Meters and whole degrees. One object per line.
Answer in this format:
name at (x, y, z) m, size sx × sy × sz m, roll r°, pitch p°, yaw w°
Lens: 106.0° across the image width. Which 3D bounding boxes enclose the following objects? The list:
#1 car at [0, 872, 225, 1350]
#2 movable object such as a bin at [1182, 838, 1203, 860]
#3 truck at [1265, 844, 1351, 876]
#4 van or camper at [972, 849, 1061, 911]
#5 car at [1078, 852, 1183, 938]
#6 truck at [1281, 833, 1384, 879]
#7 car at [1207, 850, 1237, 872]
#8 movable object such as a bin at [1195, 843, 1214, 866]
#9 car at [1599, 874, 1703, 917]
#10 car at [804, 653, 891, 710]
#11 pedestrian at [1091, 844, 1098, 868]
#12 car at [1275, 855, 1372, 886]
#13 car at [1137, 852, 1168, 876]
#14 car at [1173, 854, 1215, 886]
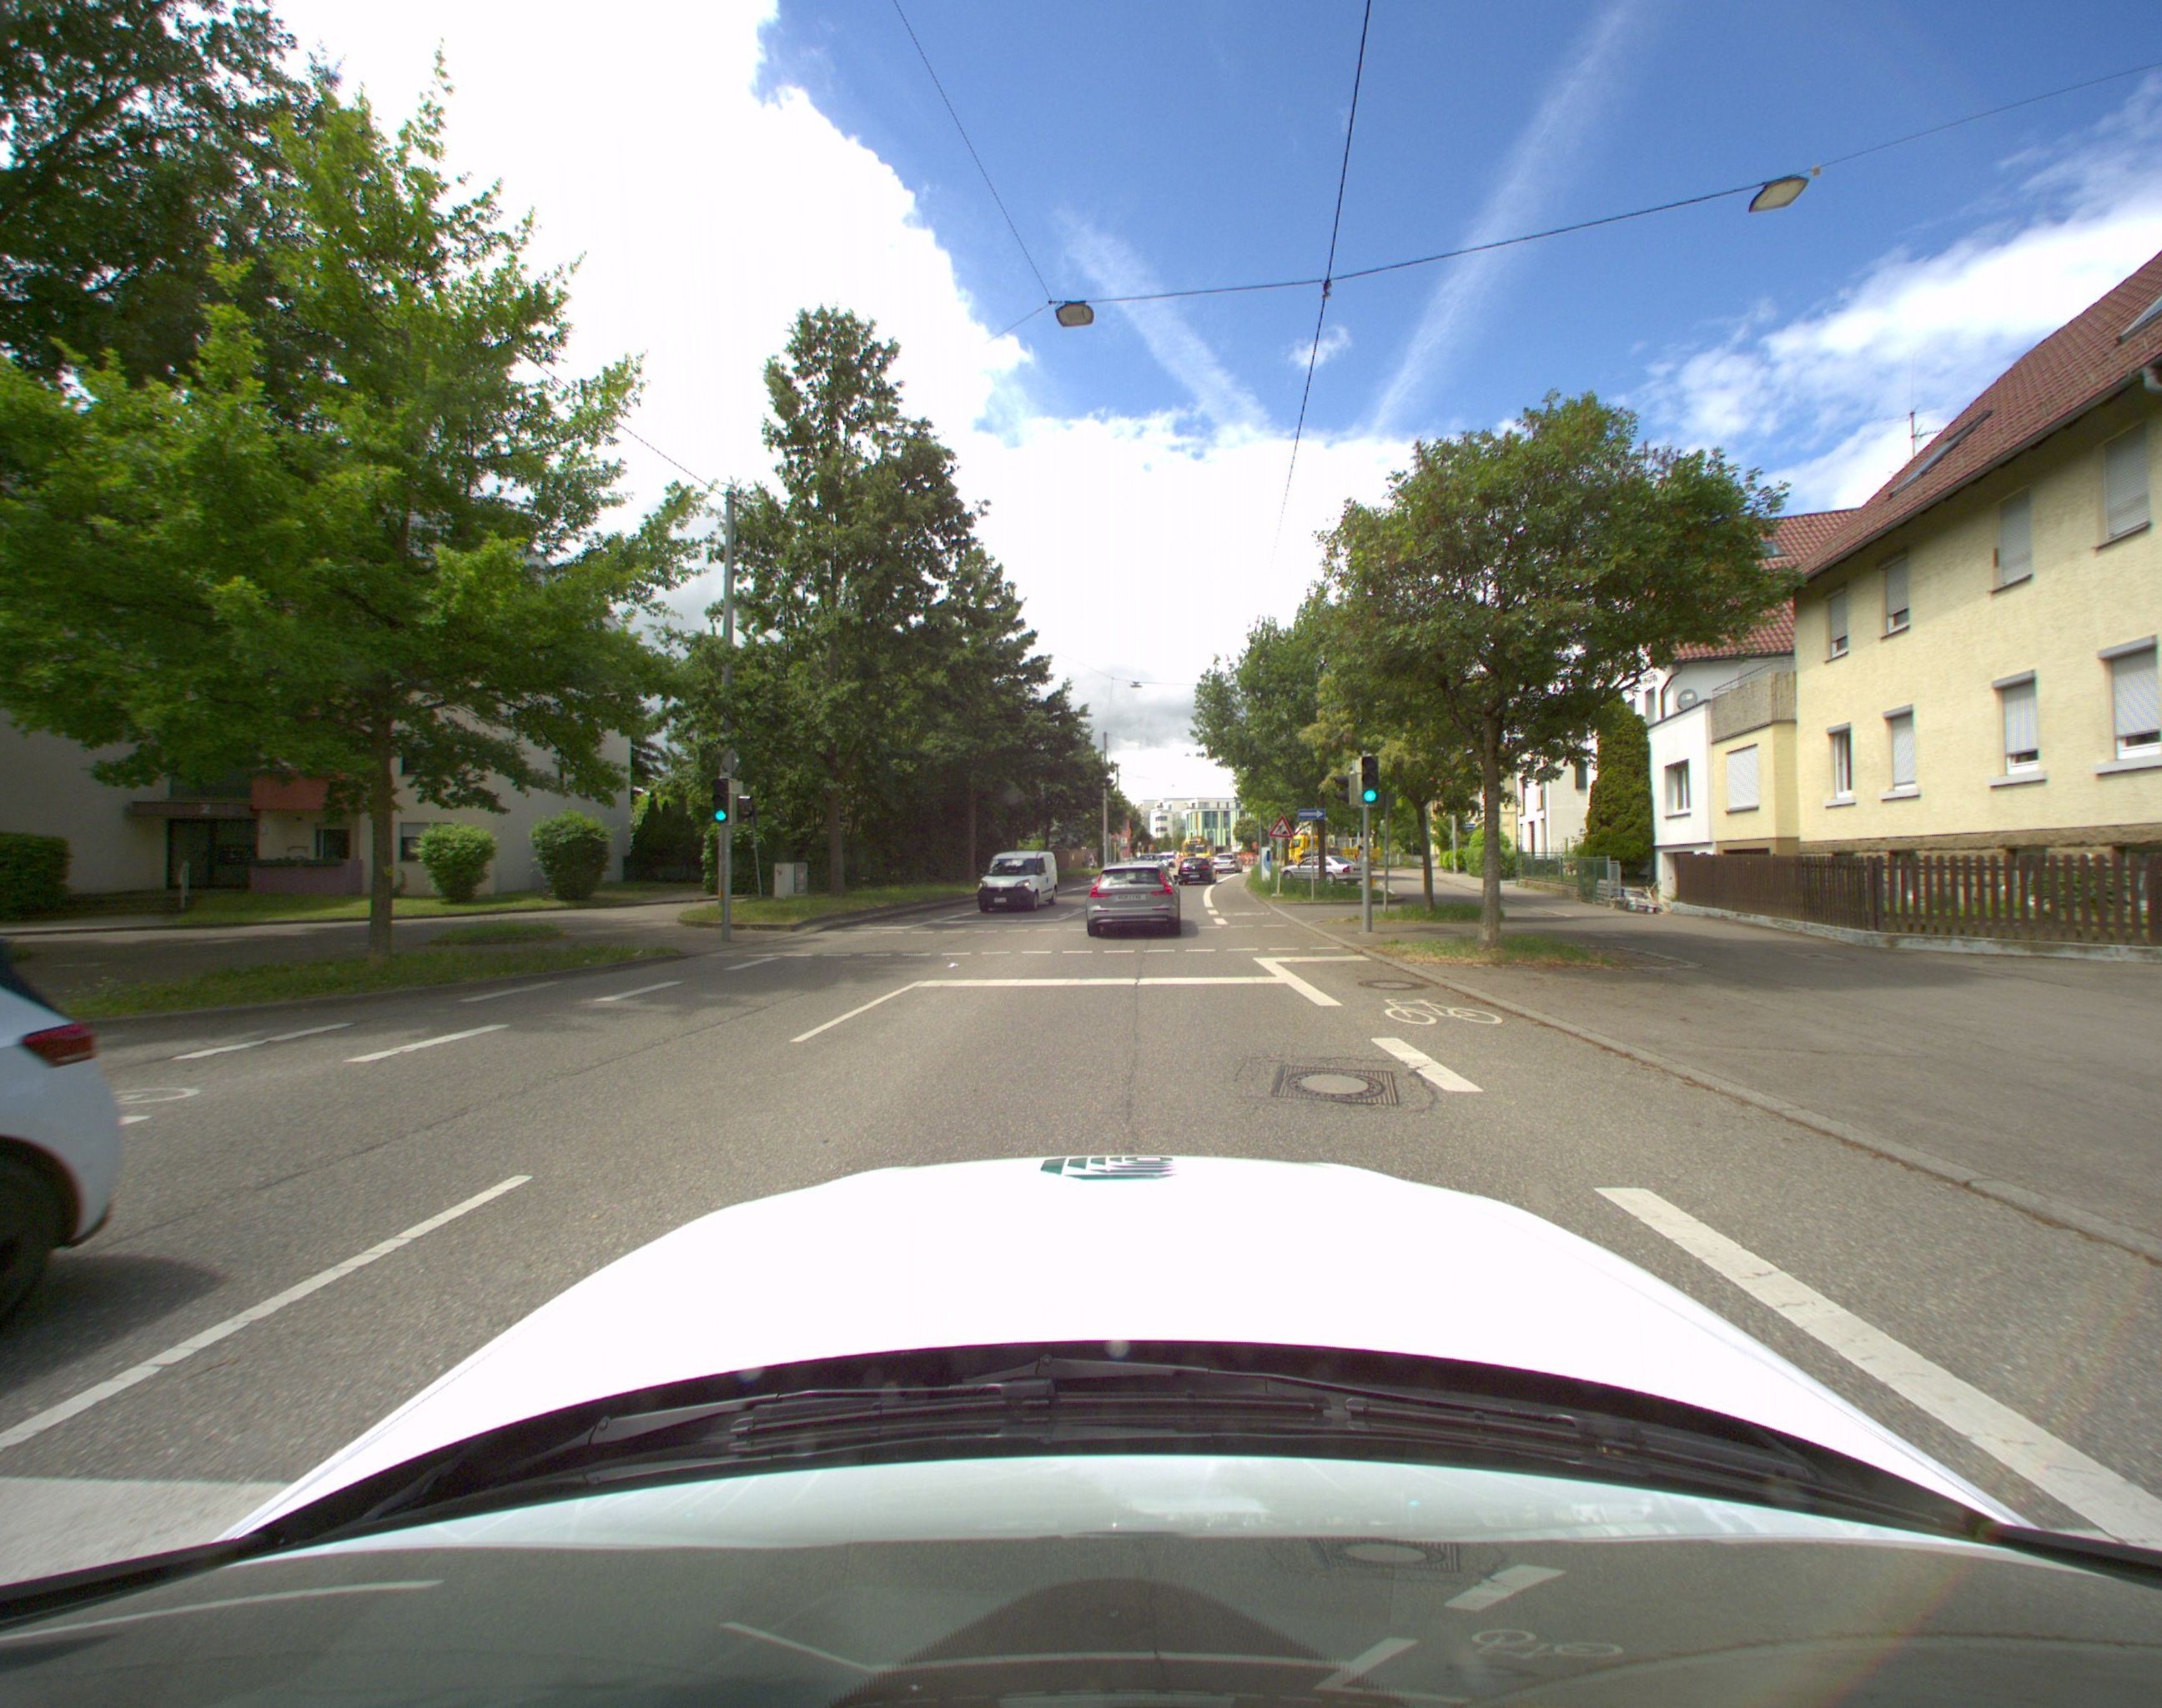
car at (-4.619, 0.850, 1.419) m, size 1.891 × 1.580 × 4.003 m, roll -1°, pitch -1°, yaw 3°
movable object such as a bin at (16.286, -0.705, 118.892) m, size 2.302 × 2.990 × 6.429 m, roll -1°, pitch 0°, yaw 2°
truck at (15.482, 0.391, 55.928) m, size 2.009 × 2.014 × 5.615 m, roll 3°, pitch -1°, yaw -37°
van or camper at (-1.938, 0.756, 25.776) m, size 1.850 × 1.776 × 4.390 m, roll 0°, pitch 0°, yaw 8°
car at (1.108, 0.799, 17.314) m, size 1.919 × 1.540 × 4.005 m, roll -3°, pitch -1°, yaw 5°
truck at (17.716, 0.155, 57.715) m, size 2.782 × 3.008 × 6.634 m, roll 3°, pitch -1°, yaw -36°
car at (10.474, 0.535, 60.562) m, size 2.090 × 1.510 × 4.010 m, roll 2°, pitch -1°, yaw 9°
movable object such as a bin at (14.561, 0.062, 95.954) m, size 2.022 × 2.643 × 5.956 m, roll -1°, pitch 0°, yaw 10°
car at (16.917, 1.202, 24.365) m, size 1.450 × 1.124 × 3.889 m, roll 2°, pitch -1°, yaw 18°
car at (-9.321, -6.881, 32.820) m, size 1.818 × 1.330 × 4.008 m, roll 2°, pitch -2°, yaw 8°
pedestrian at (1.123, 0.176, 66.854) m, size 0.399 × 2.014 × 0.416 m, roll 2°, pitch -1°, yaw 12°
car at (12.160, 0.786, 41.091) m, size 1.775 × 1.451 × 4.640 m, roll 0°, pitch 0°, yaw -33°
car at (5.323, 0.725, 60.263) m, size 1.868 × 1.687 × 4.259 m, roll -2°, pitch -1°, yaw 10°
car at (5.766, 0.819, 41.962) m, size 1.655 × 1.508 × 3.703 m, roll -4°, pitch -1°, yaw 1°
